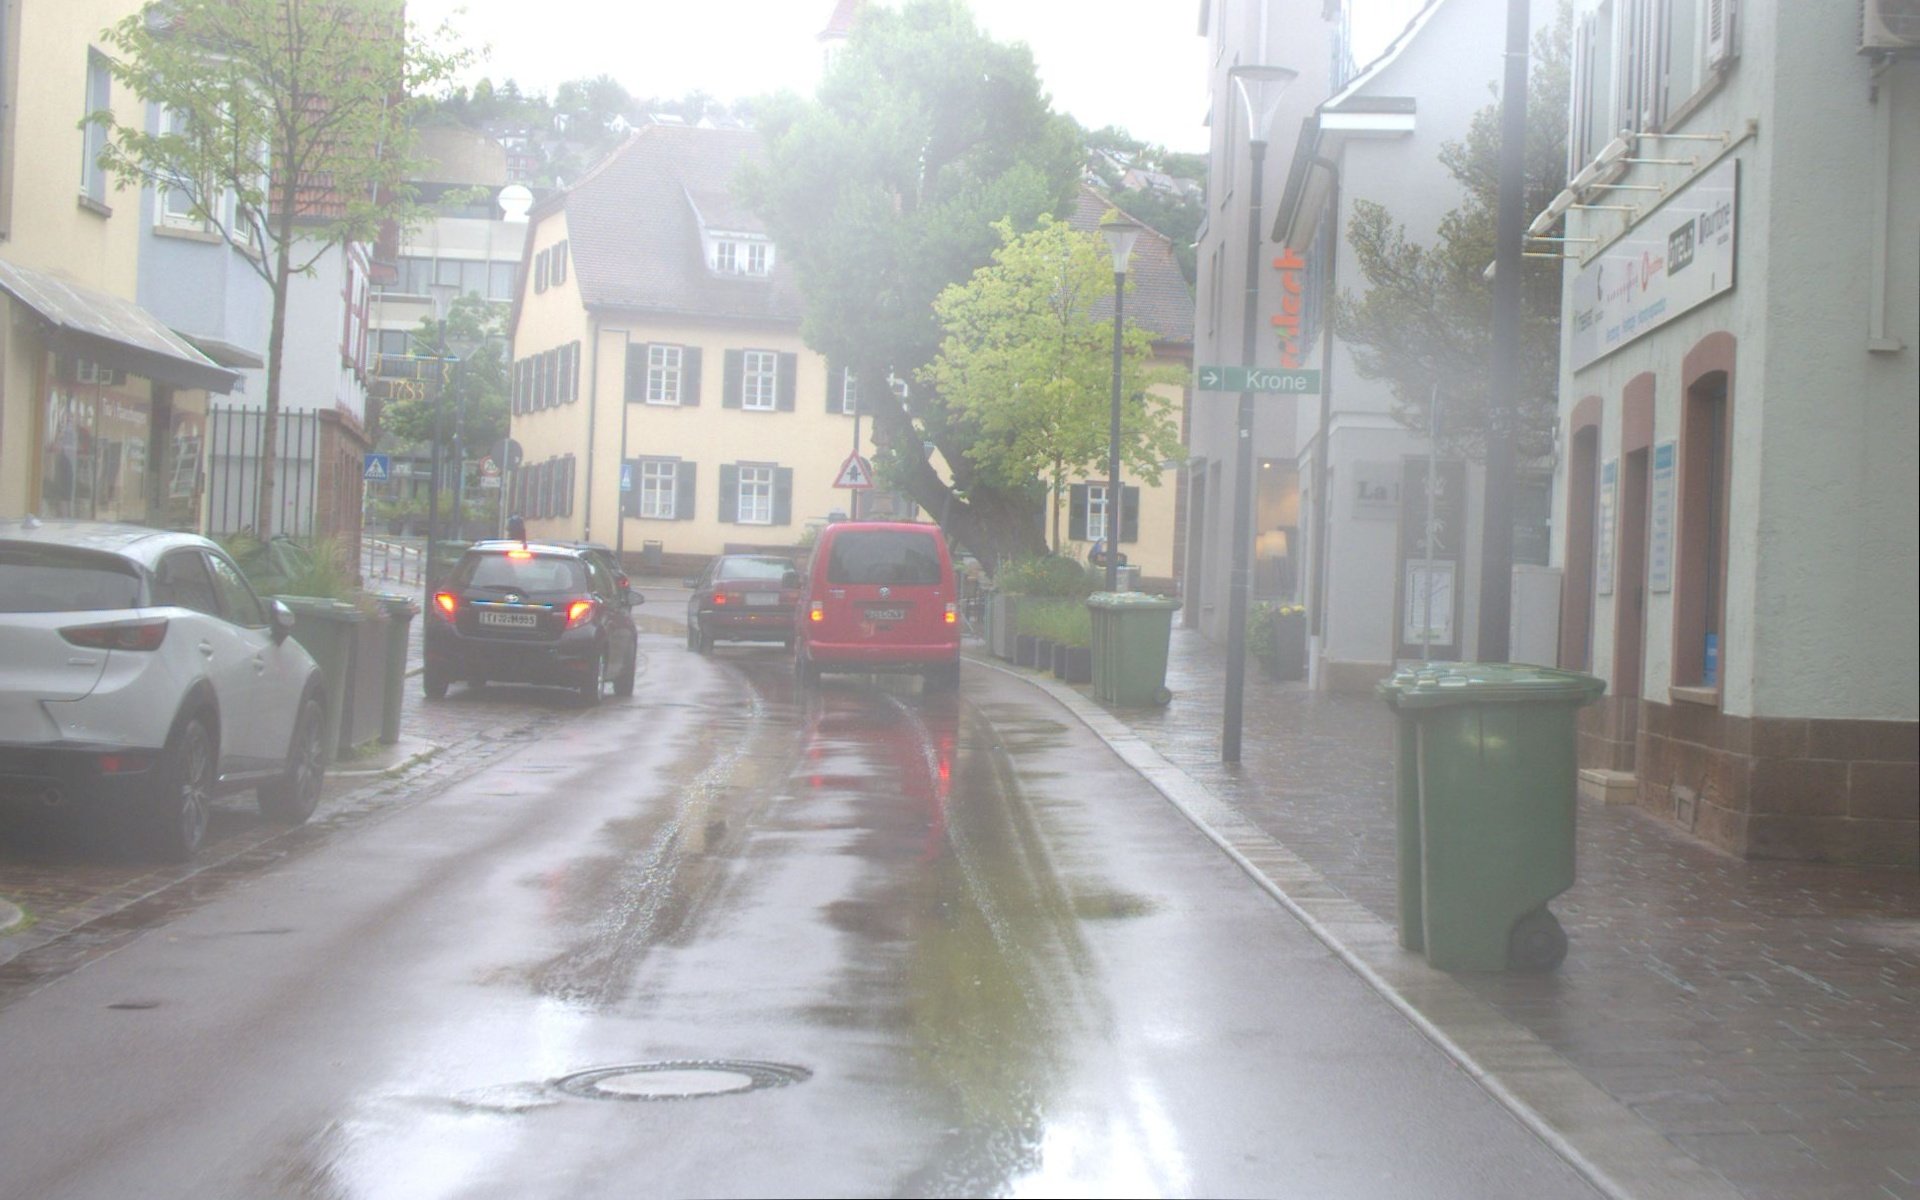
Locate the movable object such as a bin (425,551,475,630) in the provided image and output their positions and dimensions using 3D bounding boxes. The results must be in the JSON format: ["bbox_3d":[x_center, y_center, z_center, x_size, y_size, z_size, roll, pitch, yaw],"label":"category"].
[{"bbox_3d":[-7.449,-0.139,50.209,0.659,1.106,0.616,3,-1,-8],"label":"movable object such as a bin"}]

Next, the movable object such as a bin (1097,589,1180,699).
[{"bbox_3d":[1.801,0.442,34.730,0.754,1.060,0.600,3,-1,1],"label":"movable object such as a bin"}]

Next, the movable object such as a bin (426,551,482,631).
[{"bbox_3d":[-7.295,-0.134,49.577,0.725,1.106,0.597,3,-1,-8],"label":"movable object such as a bin"}]

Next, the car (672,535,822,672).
[{"bbox_3d":[-3.107,0.066,49.872,1.993,1.793,4.000,3,-1,-4],"label":"car"}]

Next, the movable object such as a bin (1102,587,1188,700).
[{"bbox_3d":[1.831,0.431,34.102,0.768,1.076,0.599,3,-1,1],"label":"movable object such as a bin"}]

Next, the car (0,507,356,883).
[{"bbox_3d":[-4.285,0.357,17.019,1.692,1.533,4.121,4,2,1],"label":"car"}]

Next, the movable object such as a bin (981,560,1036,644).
[{"bbox_3d":[0.685,0.034,48.463,0.631,1.146,0.580,3,-1,-8],"label":"movable object such as a bin"}]

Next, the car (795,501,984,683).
[{"bbox_3d":[-0.839,-0.143,38.701,1.894,1.805,4.001,4,2,-3],"label":"car"}]

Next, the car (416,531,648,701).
[{"bbox_3d":[-4.113,0.105,33.567,1.692,1.438,3.885,3,2,0],"label":"car"}]

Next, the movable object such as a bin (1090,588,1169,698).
[{"bbox_3d":[1.740,0.443,35.369,0.729,1.087,0.521,3,-1,1],"label":"movable object such as a bin"}]

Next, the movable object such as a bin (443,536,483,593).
[{"bbox_3d":[-9.990,-0.706,69.096,0.714,1.102,0.600,3,-1,-10],"label":"movable object such as a bin"}]

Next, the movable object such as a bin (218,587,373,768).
[{"bbox_3d":[-4.287,0.492,22.218,0.787,1.081,0.693,4,2,2],"label":"movable object such as a bin"}]

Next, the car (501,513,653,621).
[{"bbox_3d":[-6.051,-0.552,53.958,1.787,1.490,4.002,3,1,-14],"label":"car"}]

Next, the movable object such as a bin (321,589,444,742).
[{"bbox_3d":[-4.152,0.471,24.758,0.709,1.049,0.704,3,-1,1],"label":"movable object such as a bin"}]

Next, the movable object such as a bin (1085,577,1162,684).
[{"bbox_3d":[1.739,0.324,36.622,0.735,1.094,0.611,3,-1,-1],"label":"movable object such as a bin"}]

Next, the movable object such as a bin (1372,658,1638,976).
[{"bbox_3d":[1.945,0.766,12.338,0.792,1.077,0.615,2,0,-3],"label":"movable object such as a bin"}]

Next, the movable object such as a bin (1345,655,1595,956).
[{"bbox_3d":[1.916,0.765,12.979,0.796,1.077,0.583,2,0,-3],"label":"movable object such as a bin"}]
